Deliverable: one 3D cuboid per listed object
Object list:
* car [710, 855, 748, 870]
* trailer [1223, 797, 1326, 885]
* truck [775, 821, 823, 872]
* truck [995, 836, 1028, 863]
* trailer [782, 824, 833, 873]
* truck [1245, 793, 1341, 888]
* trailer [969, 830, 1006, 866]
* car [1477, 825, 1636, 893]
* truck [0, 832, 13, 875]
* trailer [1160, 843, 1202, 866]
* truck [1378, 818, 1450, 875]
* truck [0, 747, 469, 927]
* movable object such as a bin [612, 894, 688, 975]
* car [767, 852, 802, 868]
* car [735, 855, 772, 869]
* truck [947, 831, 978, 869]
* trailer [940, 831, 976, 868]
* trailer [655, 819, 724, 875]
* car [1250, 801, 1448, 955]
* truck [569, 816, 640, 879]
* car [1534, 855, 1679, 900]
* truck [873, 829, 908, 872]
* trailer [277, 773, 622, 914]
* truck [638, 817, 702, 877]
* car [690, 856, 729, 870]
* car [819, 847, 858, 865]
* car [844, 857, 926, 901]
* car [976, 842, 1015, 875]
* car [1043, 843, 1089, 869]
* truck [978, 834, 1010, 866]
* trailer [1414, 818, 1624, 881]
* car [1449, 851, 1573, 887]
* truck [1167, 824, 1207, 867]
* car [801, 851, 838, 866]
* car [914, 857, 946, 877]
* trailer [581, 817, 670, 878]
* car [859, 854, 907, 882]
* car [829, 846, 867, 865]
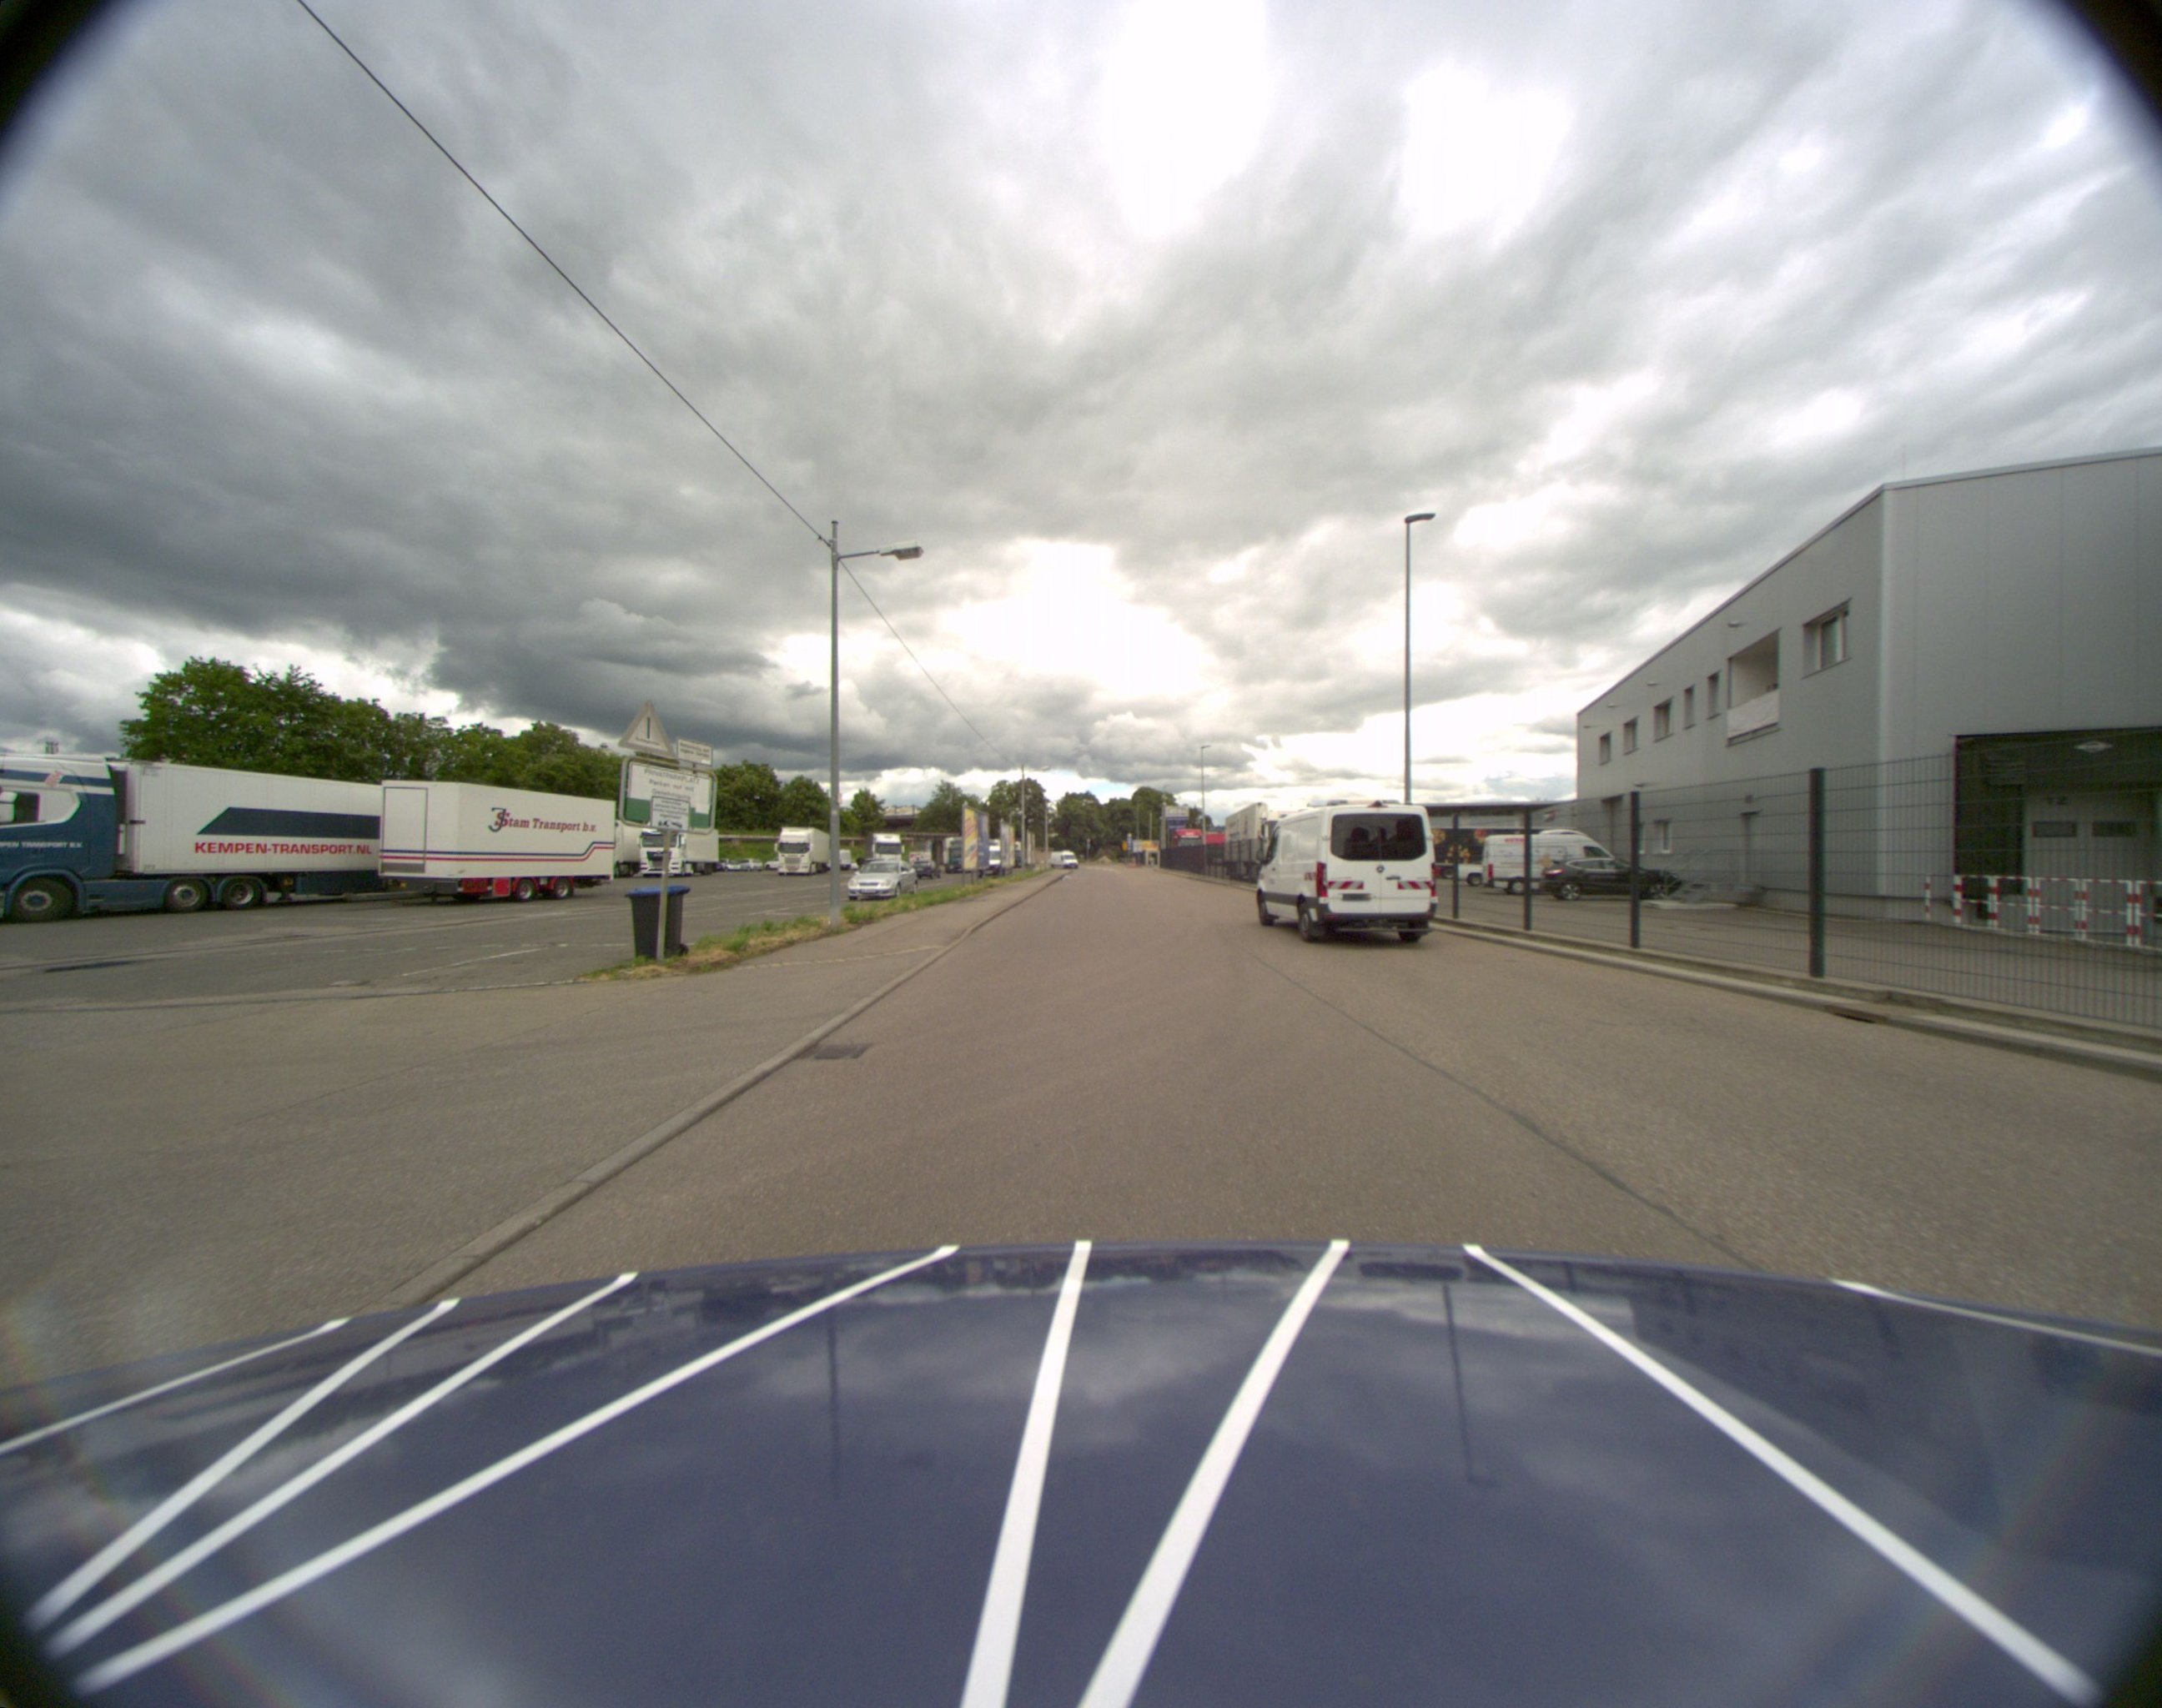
[{"bbox_3d":[-40.931,0.959,88.370,4.208,1.599,2.004,1,1,31],"label":"car"},{"bbox_3d":[10.613,-0.681,43.575,3.366,4.136,13.852,2,0,5],"label":"trailer"},{"bbox_3d":[-24.214,-0.619,65.529,2.876,4.071,6.748,1,0,-13],"label":"truck"},{"bbox_3d":[-9.724,-0.630,105.600,2.832,3.690,9.090,0,0,-17],"label":"truck"},{"bbox_3d":[-25.545,-0.490,71.515,2.841,4.071,13.380,1,0,-13],"label":"trailer"},{"bbox_3d":[10.020,-0.626,36.600,3.366,4.136,5.629,2,1,5],"label":"truck"},{"bbox_3d":[-11.969,-0.725,95.844,2.841,4.071,13.378,1,0,-15],"label":"trailer"},{"bbox_3d":[20.240,0.265,32.667,5.422,2.714,2.245,-1,0,20],"label":"car"},{"bbox_3d":[-65.088,-0.114,44.388,5.941,2.476,2.286,2,1,27],"label":"truck"},{"bbox_3d":[10.131,0.007,78.349,3.045,2.179,12.048,2,0,2],"label":"trailer"},{"bbox_3d":[25.907,-0.595,59.212,4.869,4.181,3.053,2,1,23],"label":"truck"},{"bbox_3d":[-25.169,-0.449,22.611,3.082,3.944,13.069,2,0,1],"label":"truck"},{"bbox_3d":[-6.084,1.121,10.747,0.716,1.075,0.662,0,0,-5],"label":"movable object such as a bin"},{"bbox_3d":[-36.684,0.718,94.079,3.989,1.862,2.004,1,1,31],"label":"car"},{"bbox_3d":[-38.692,0.900,89.727,3.989,1.599,2.004,1,1,31],"label":"car"},{"bbox_3d":[-13.422,-0.440,85.525,2.876,3.990,6.748,1,0,-14],"label":"truck"},{"bbox_3d":[-14.945,-0.517,91.451,2.841,4.071,13.378,1,0,-15],"label":"trailer"},{"bbox_3d":[-31.800,-0.545,62.278,2.618,4.071,12.426,1,0,-16],"label":"trailer"},{"bbox_3d":[4.805,0.381,14.582,1.998,2.402,5.256,-1,0,1],"label":"car"},{"bbox_3d":[-32.628,-0.445,52.229,2.618,4.071,5.646,1,0,-16],"label":"truck"},{"bbox_3d":[19.172,0.861,27.955,4.071,1.567,1.947,-1,0,23],"label":"car"},{"bbox_3d":[-19.232,-0.376,76.381,2.877,4.071,6.745,1,0,-18],"label":"truck"},{"bbox_3d":[-21.136,-0.320,26.822,2.964,3.944,10.407,2,0,4],"label":"trailer"},{"bbox_3d":[-29.856,-0.511,55.437,2.618,4.071,6.747,1,0,-16],"label":"truck"},{"bbox_3d":[-42.095,0.992,86.060,4.208,1.599,2.004,1,1,31],"label":"car"},{"bbox_3d":[-32.092,0.259,100.438,4.906,2.435,2.375,0,0,33],"label":"car"},{"bbox_3d":[-7.121,0.861,28.074,1.778,1.455,4.560,0,0,1],"label":"car"},{"bbox_3d":[-6.567,0.318,59.266,2.091,2.401,6.084,0,0,3],"label":"car"},{"bbox_3d":[-2.251,0.281,109.119,3.346,3.586,8.650,0,0,-27],"label":"car"},{"bbox_3d":[-10.385,-0.475,89.665,2.876,3.609,6.748,1,0,-14],"label":"truck"},{"bbox_3d":[32.045,-0.393,56.559,13.156,4.189,3.053,2,1,23],"label":"trailer"},{"bbox_3d":[23.463,0.791,41.713,5.679,1.799,1.947,1,1,23],"label":"car"},{"bbox_3d":[9.991,-0.764,72.326,3.021,3.827,5.670,2,1,1],"label":"truck"},{"bbox_3d":[-33.773,0.529,98.225,4.707,1.881,2.004,0,0,33],"label":"car"},{"bbox_3d":[-11.752,0.981,59.487,1.497,1.486,4.053,0,0,3],"label":"car"},{"bbox_3d":[-34.191,-0.453,57.644,2.618,4.071,12.426,1,0,-16],"label":"trailer"},{"bbox_3d":[-11.914,0.823,45.946,1.769,1.562,4.000,-2,0,1],"label":"car"},{"bbox_3d":[-31.673,0.213,103.199,4.906,2.435,2.375,0,0,33],"label":"car"}]
